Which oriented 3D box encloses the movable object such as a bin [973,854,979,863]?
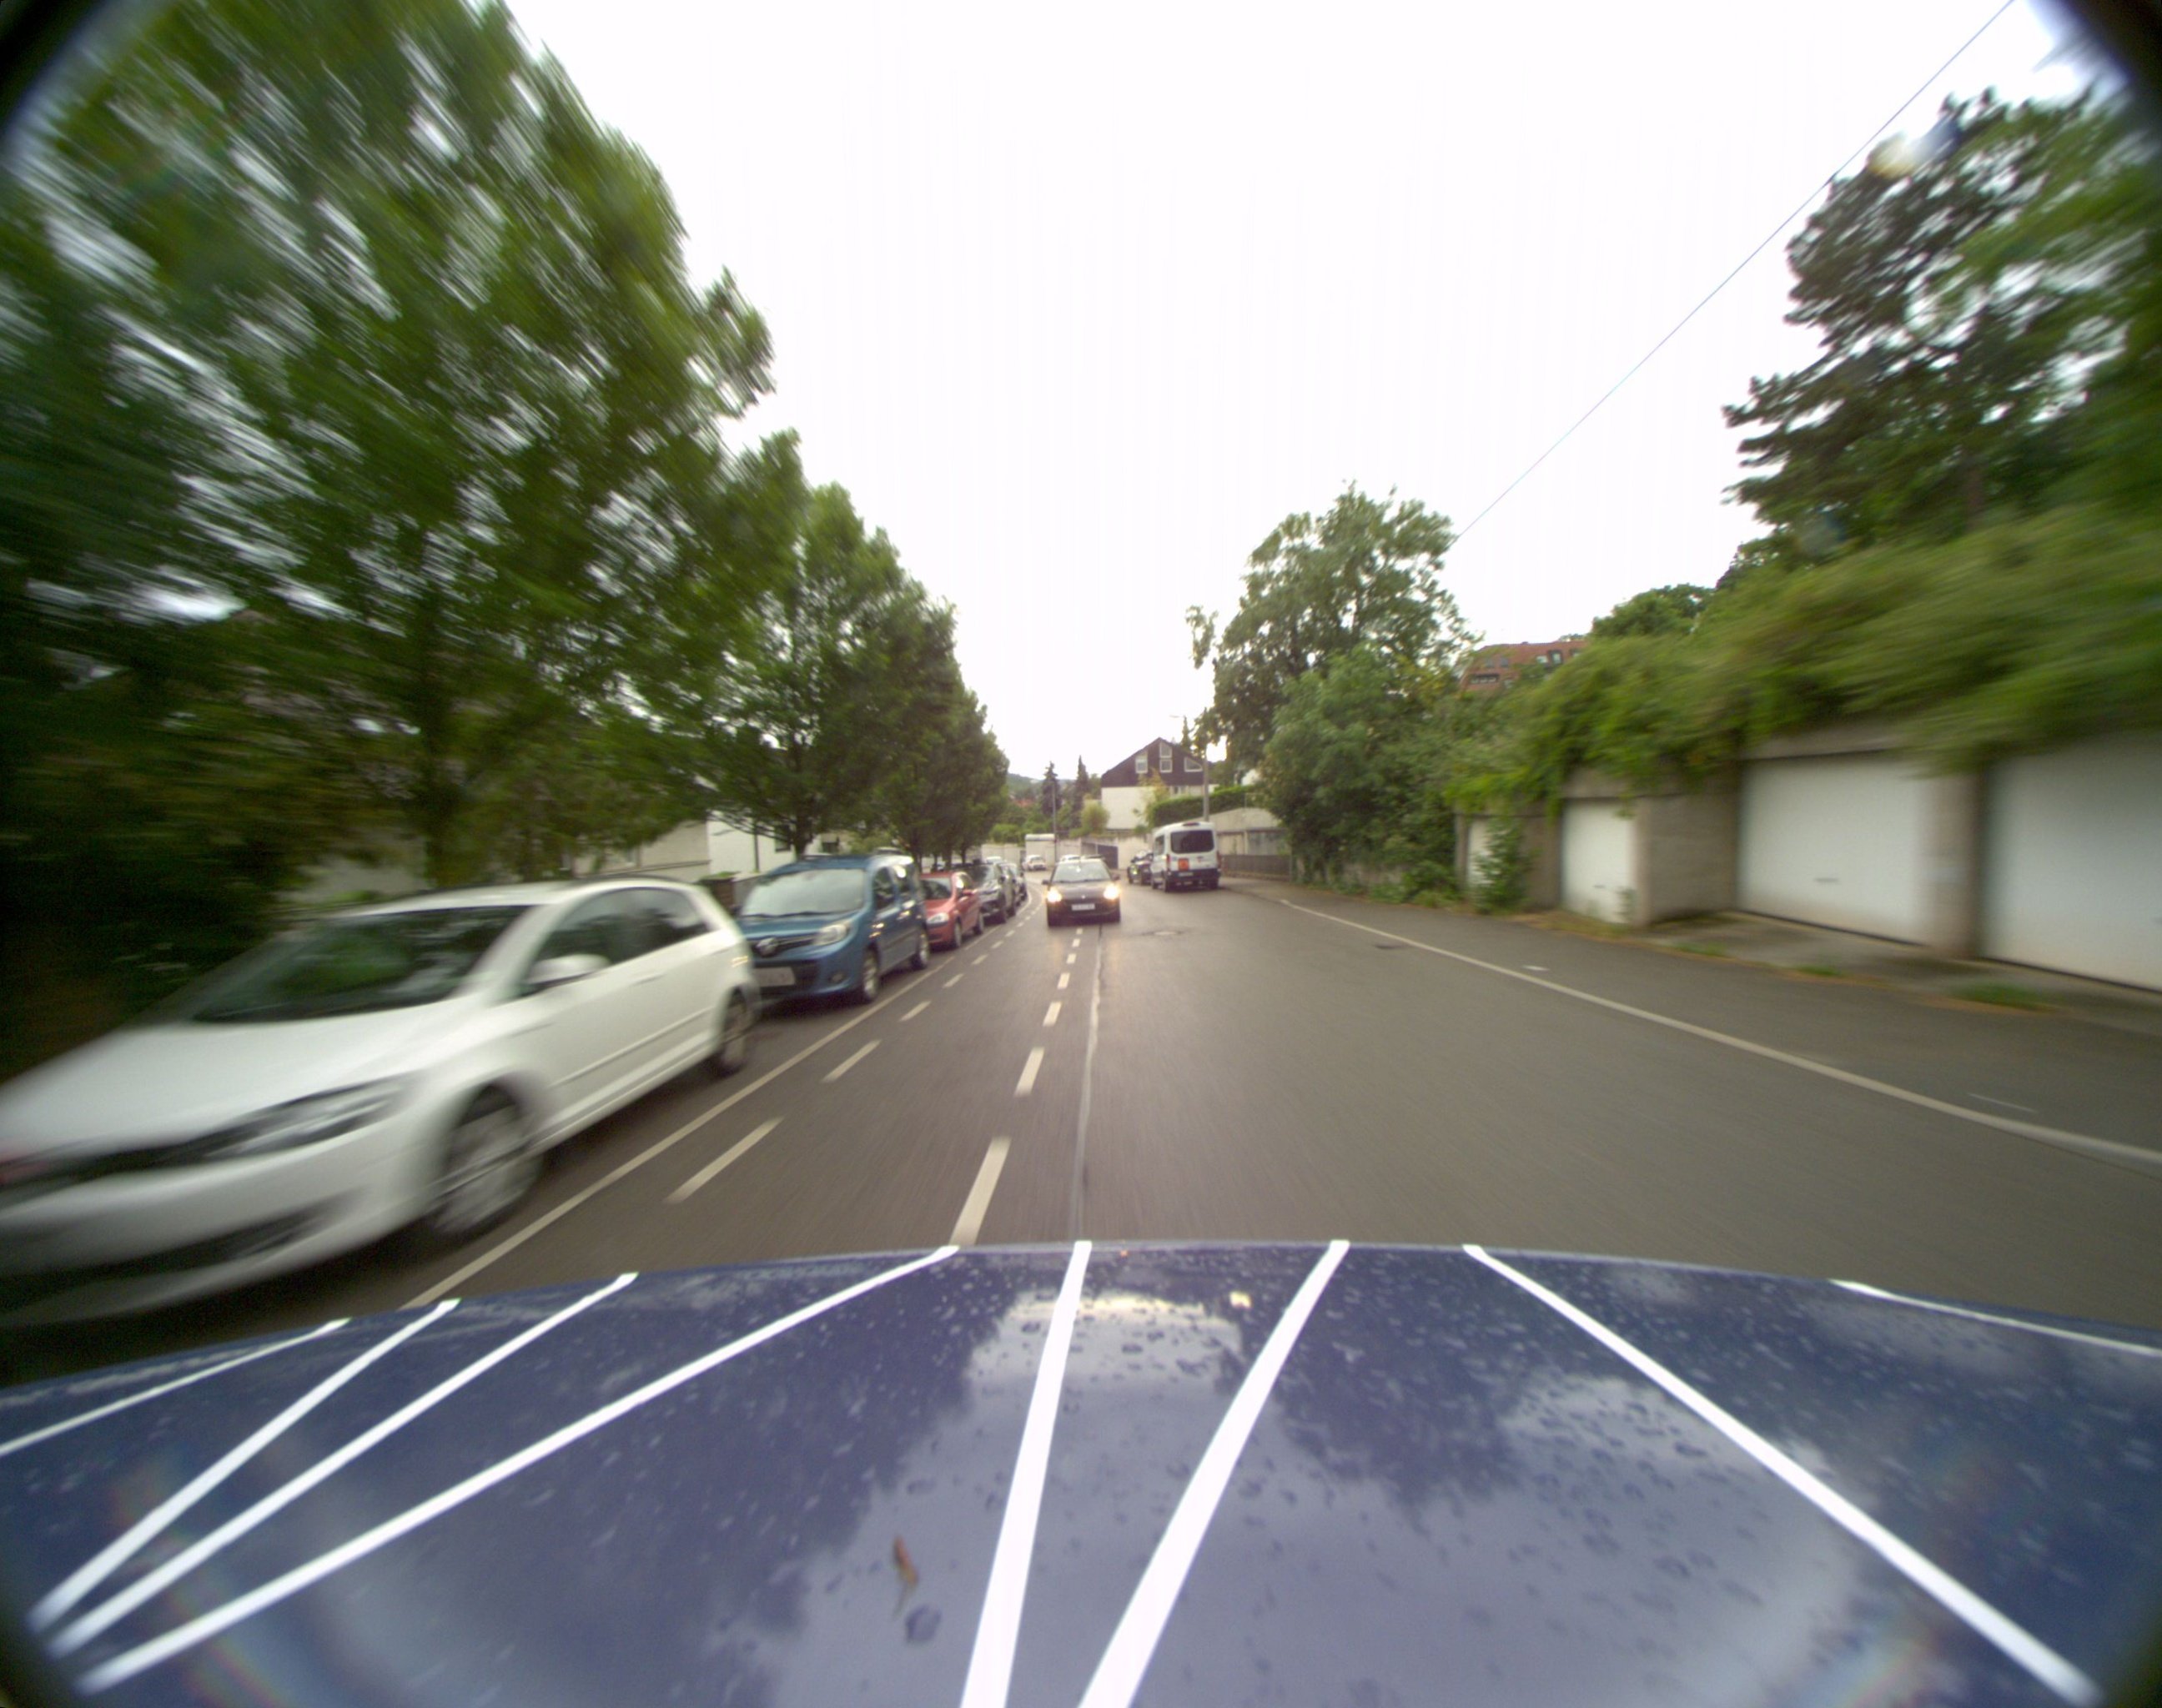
[{"bbox_3d":[-14.096,0.583,102.223,0.528,1.140,0.601,-4,3,11],"label":"movable object such as a bin"}]

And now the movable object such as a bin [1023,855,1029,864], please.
[{"bbox_3d":[-6.433,0.618,88.469,0.543,0.957,0.646,-4,1,7],"label":"movable object such as a bin"}]

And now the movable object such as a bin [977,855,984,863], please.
[{"bbox_3d":[-13.520,0.665,102.099,0.609,0.986,0.601,-5,2,11],"label":"movable object such as a bin"}]

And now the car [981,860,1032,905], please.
[{"bbox_3d":[-3.054,1.140,32.120,1.781,1.544,4.726,-5,1,-3],"label":"car"}]

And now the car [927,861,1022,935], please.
[{"bbox_3d":[-2.709,1.060,20.229,1.718,1.547,4.163,-6,0,1],"label":"car"}]

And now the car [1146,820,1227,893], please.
[{"bbox_3d":[4.057,0.085,30.335,2.100,2.535,6.096,-3,0,-1],"label":"car"}]

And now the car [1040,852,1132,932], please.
[{"bbox_3d":[0.182,0.819,18.456,1.892,1.521,4.056,-4,1,2],"label":"car"}]

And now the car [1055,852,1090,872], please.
[{"bbox_3d":[-0.707,0.621,62.424,1.839,1.431,4.034,-4,1,-16],"label":"car"}]

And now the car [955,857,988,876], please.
[{"bbox_3d":[-9.973,1.121,68.630,1.869,1.461,5.047,-7,2,-19],"label":"car"}]

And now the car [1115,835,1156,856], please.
[{"bbox_3d":[5.569,-0.834,77.639,3.871,1.735,1.789,-5,2,9],"label":"car"}]

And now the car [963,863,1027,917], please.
[{"bbox_3d":[-2.807,1.133,25.640,1.647,1.416,4.286,-6,1,-1],"label":"car"}]

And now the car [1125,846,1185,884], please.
[{"bbox_3d":[3.604,0.496,37.754,1.902,1.681,4.542,-3,1,-7],"label":"car"}]

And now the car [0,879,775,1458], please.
[{"bbox_3d":[-3.559,1.074,4.446,1.788,1.599,4.223,-4,0,-1],"label":"car"}]

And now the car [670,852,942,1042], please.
[{"bbox_3d":[-3.251,0.965,10.073,1.782,1.841,4.425,-4,0,1],"label":"car"}]

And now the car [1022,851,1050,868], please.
[{"bbox_3d":[-4.406,0.526,73.850,1.633,1.507,3.826,-4,1,-19],"label":"car"}]

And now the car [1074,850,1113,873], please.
[{"bbox_3d":[0.873,0.515,55.665,1.719,1.451,4.677,-4,1,-13],"label":"car"}]

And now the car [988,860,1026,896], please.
[{"bbox_3d":[-3.754,1.146,38.297,1.659,1.511,3.997,-5,1,-6],"label":"car"}]

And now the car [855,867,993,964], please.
[{"bbox_3d":[-2.984,1.112,15.299,1.652,1.473,4.020,-5,0,3],"label":"car"}]

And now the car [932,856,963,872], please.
[{"bbox_3d":[-14.014,1.041,79.589,1.862,1.572,4.848,-5,1,-24],"label":"car"}]

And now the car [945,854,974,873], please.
[{"bbox_3d":[-11.874,0.939,74.105,2.062,1.647,5.228,-4,1,-16],"label":"car"}]
